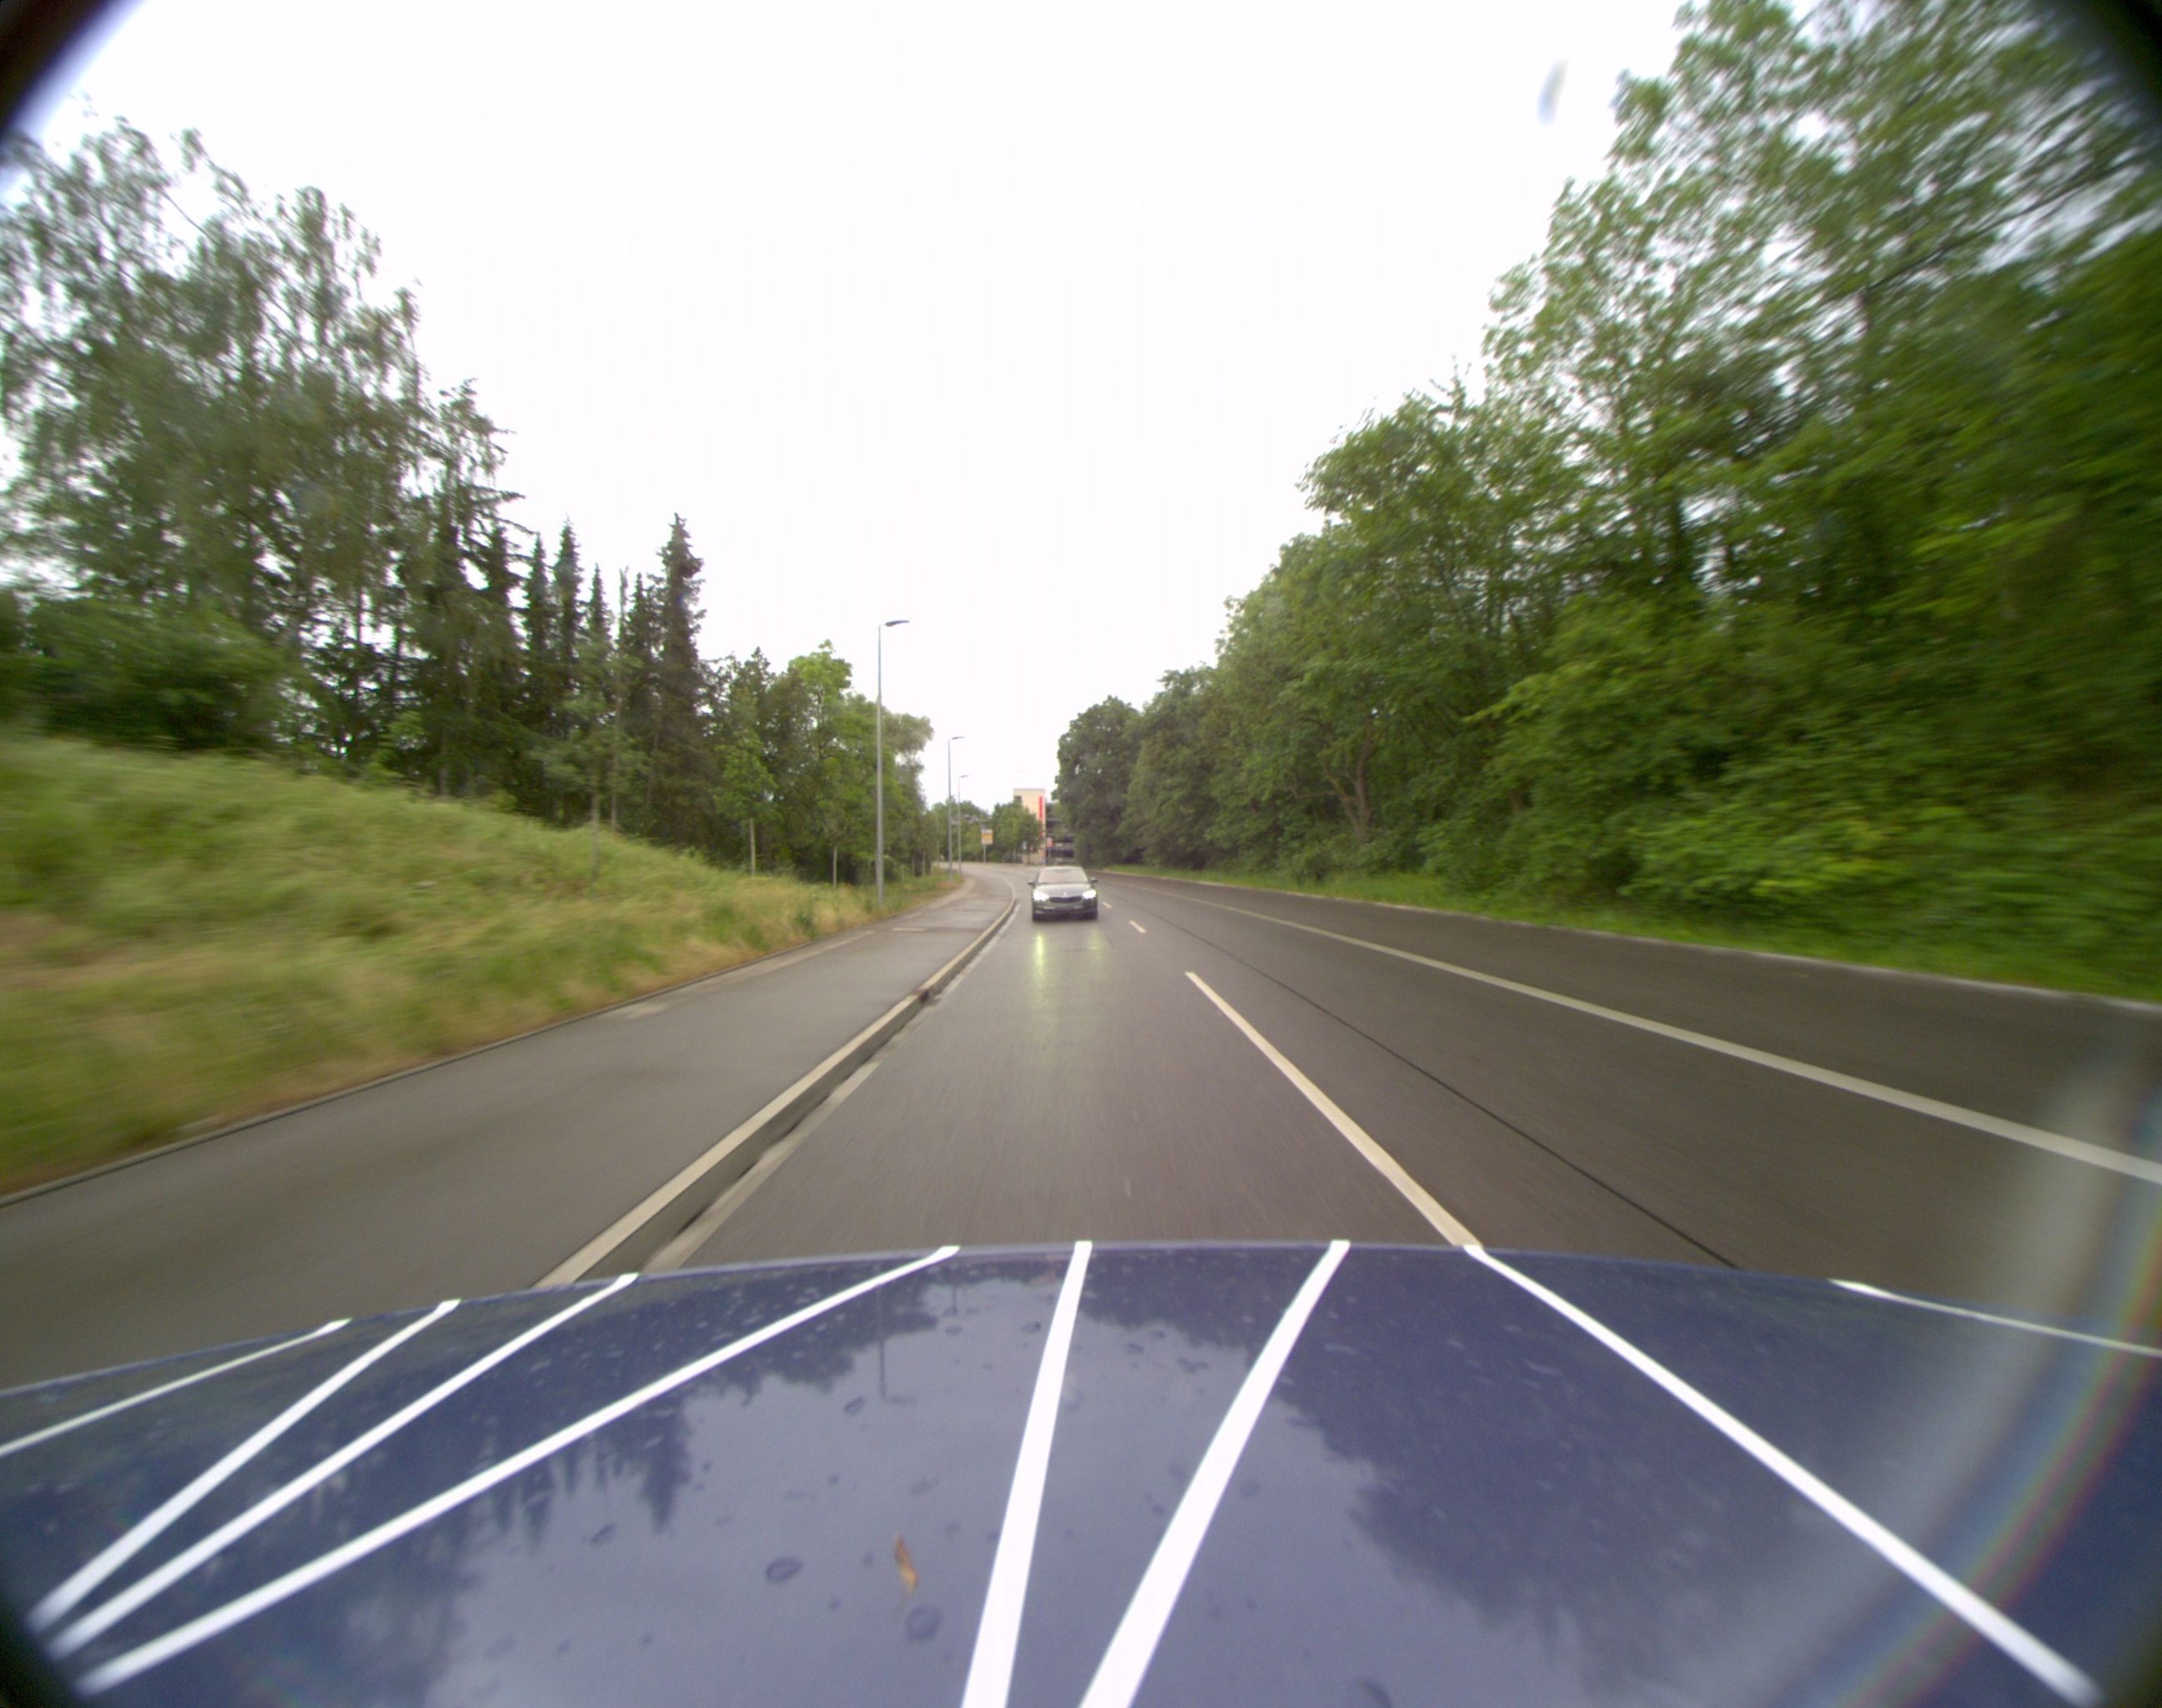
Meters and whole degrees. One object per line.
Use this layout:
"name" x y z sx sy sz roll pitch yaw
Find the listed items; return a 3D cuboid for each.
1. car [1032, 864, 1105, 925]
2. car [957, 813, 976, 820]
"car" -0.428 1.066 21.688 1.839 1.448 4.200 -2 1 -3
"car" -25.667 -8.361 170.085 3.996 1.510 2.000 1 0 2
